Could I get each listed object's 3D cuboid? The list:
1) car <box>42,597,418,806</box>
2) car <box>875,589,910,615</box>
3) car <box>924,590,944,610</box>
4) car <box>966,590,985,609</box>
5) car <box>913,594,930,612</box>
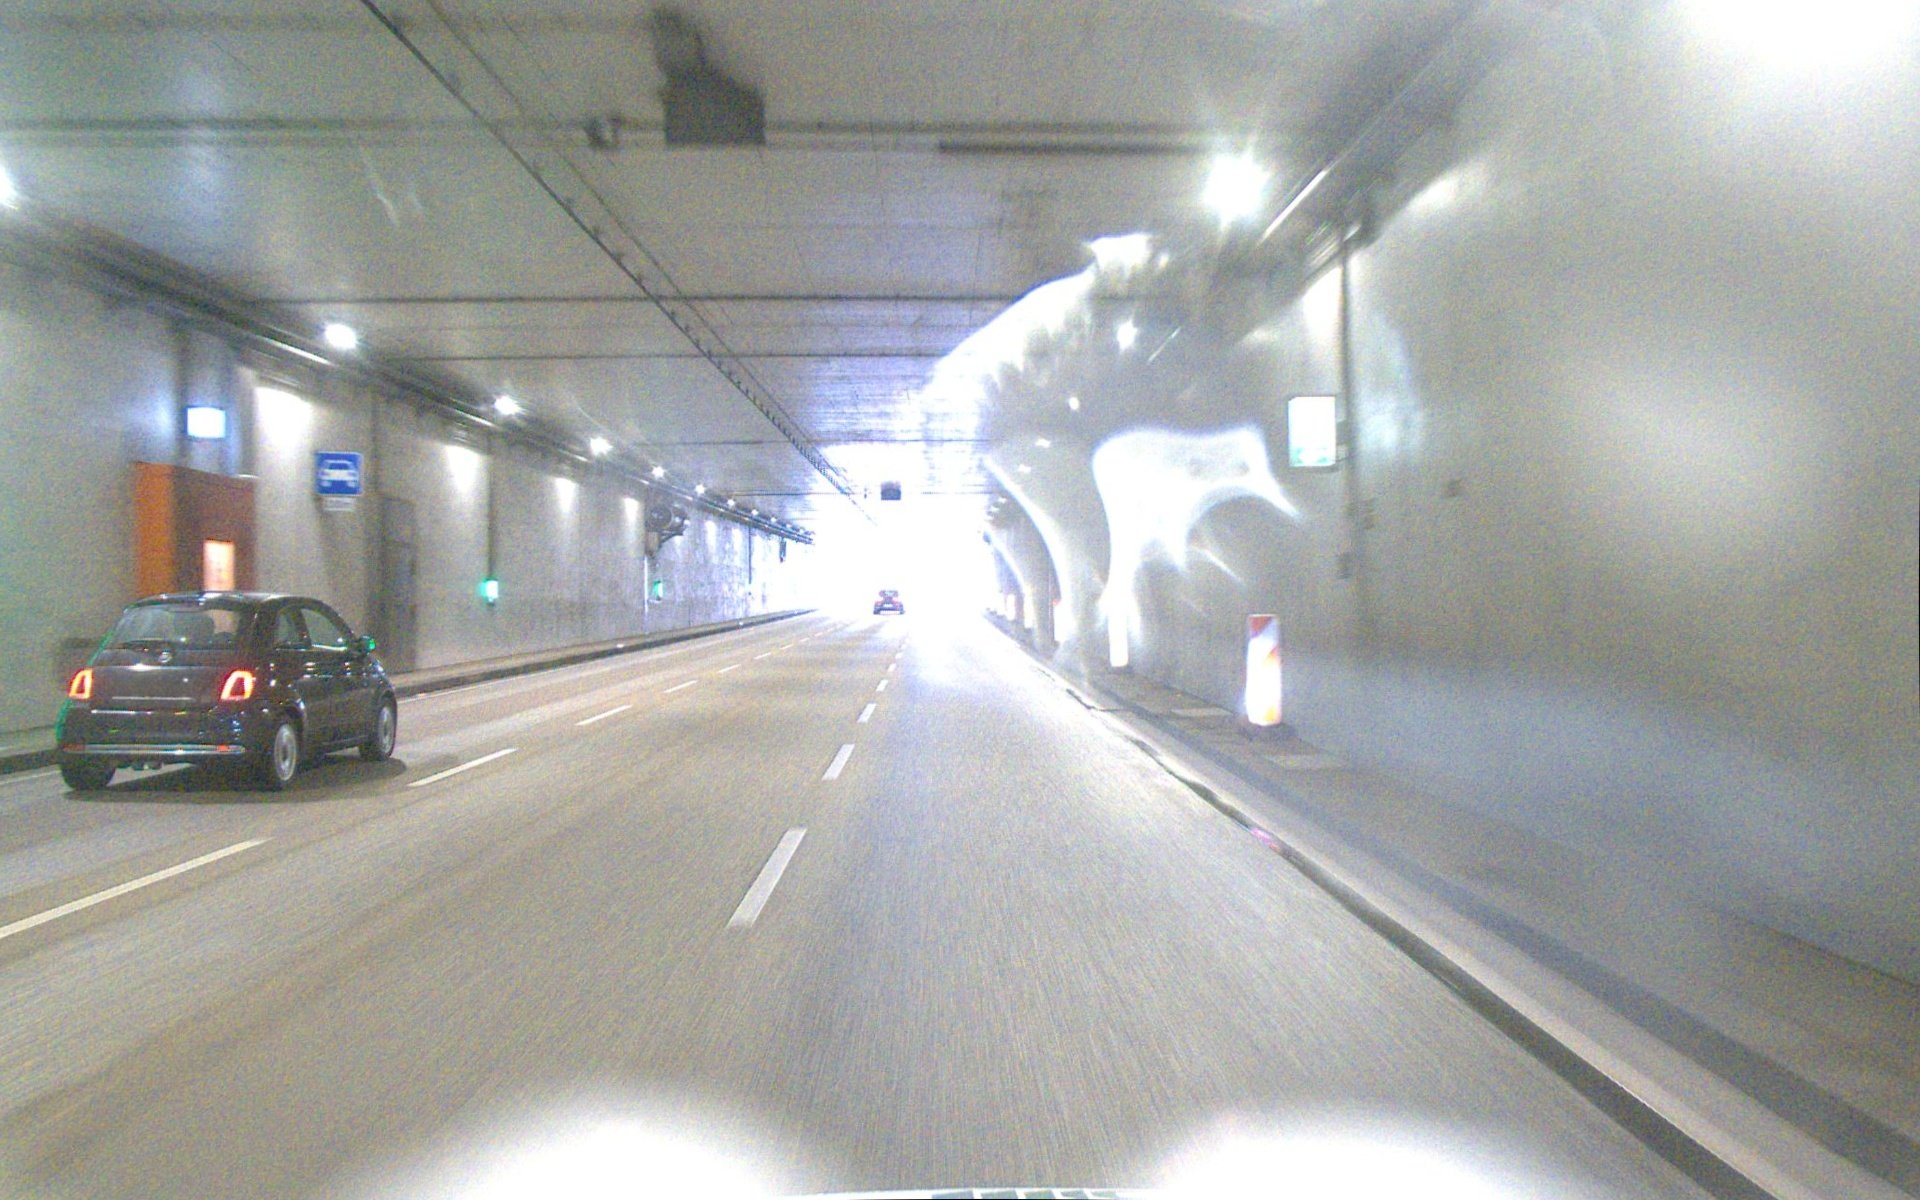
[{"bbox_3d":[-5.763,0.733,13.532,1.580,1.480,3.571,0,0,-2],"label":"car"},{"bbox_3d":[-4.023,0.112,97.743,1.954,1.473,4.311,1,0,-4],"label":"car"},{"bbox_3d":[-2.642,0.024,168.387,1.953,2.049,3.999,-1,-1,-1],"label":"car"},{"bbox_3d":[1.676,-0.043,182.693,1.953,2.049,3.999,-1,-1,-1],"label":"car"},{"bbox_3d":[-4.518,0.319,195.307,1.953,2.049,3.998,-1,-1,-2],"label":"car"}]
